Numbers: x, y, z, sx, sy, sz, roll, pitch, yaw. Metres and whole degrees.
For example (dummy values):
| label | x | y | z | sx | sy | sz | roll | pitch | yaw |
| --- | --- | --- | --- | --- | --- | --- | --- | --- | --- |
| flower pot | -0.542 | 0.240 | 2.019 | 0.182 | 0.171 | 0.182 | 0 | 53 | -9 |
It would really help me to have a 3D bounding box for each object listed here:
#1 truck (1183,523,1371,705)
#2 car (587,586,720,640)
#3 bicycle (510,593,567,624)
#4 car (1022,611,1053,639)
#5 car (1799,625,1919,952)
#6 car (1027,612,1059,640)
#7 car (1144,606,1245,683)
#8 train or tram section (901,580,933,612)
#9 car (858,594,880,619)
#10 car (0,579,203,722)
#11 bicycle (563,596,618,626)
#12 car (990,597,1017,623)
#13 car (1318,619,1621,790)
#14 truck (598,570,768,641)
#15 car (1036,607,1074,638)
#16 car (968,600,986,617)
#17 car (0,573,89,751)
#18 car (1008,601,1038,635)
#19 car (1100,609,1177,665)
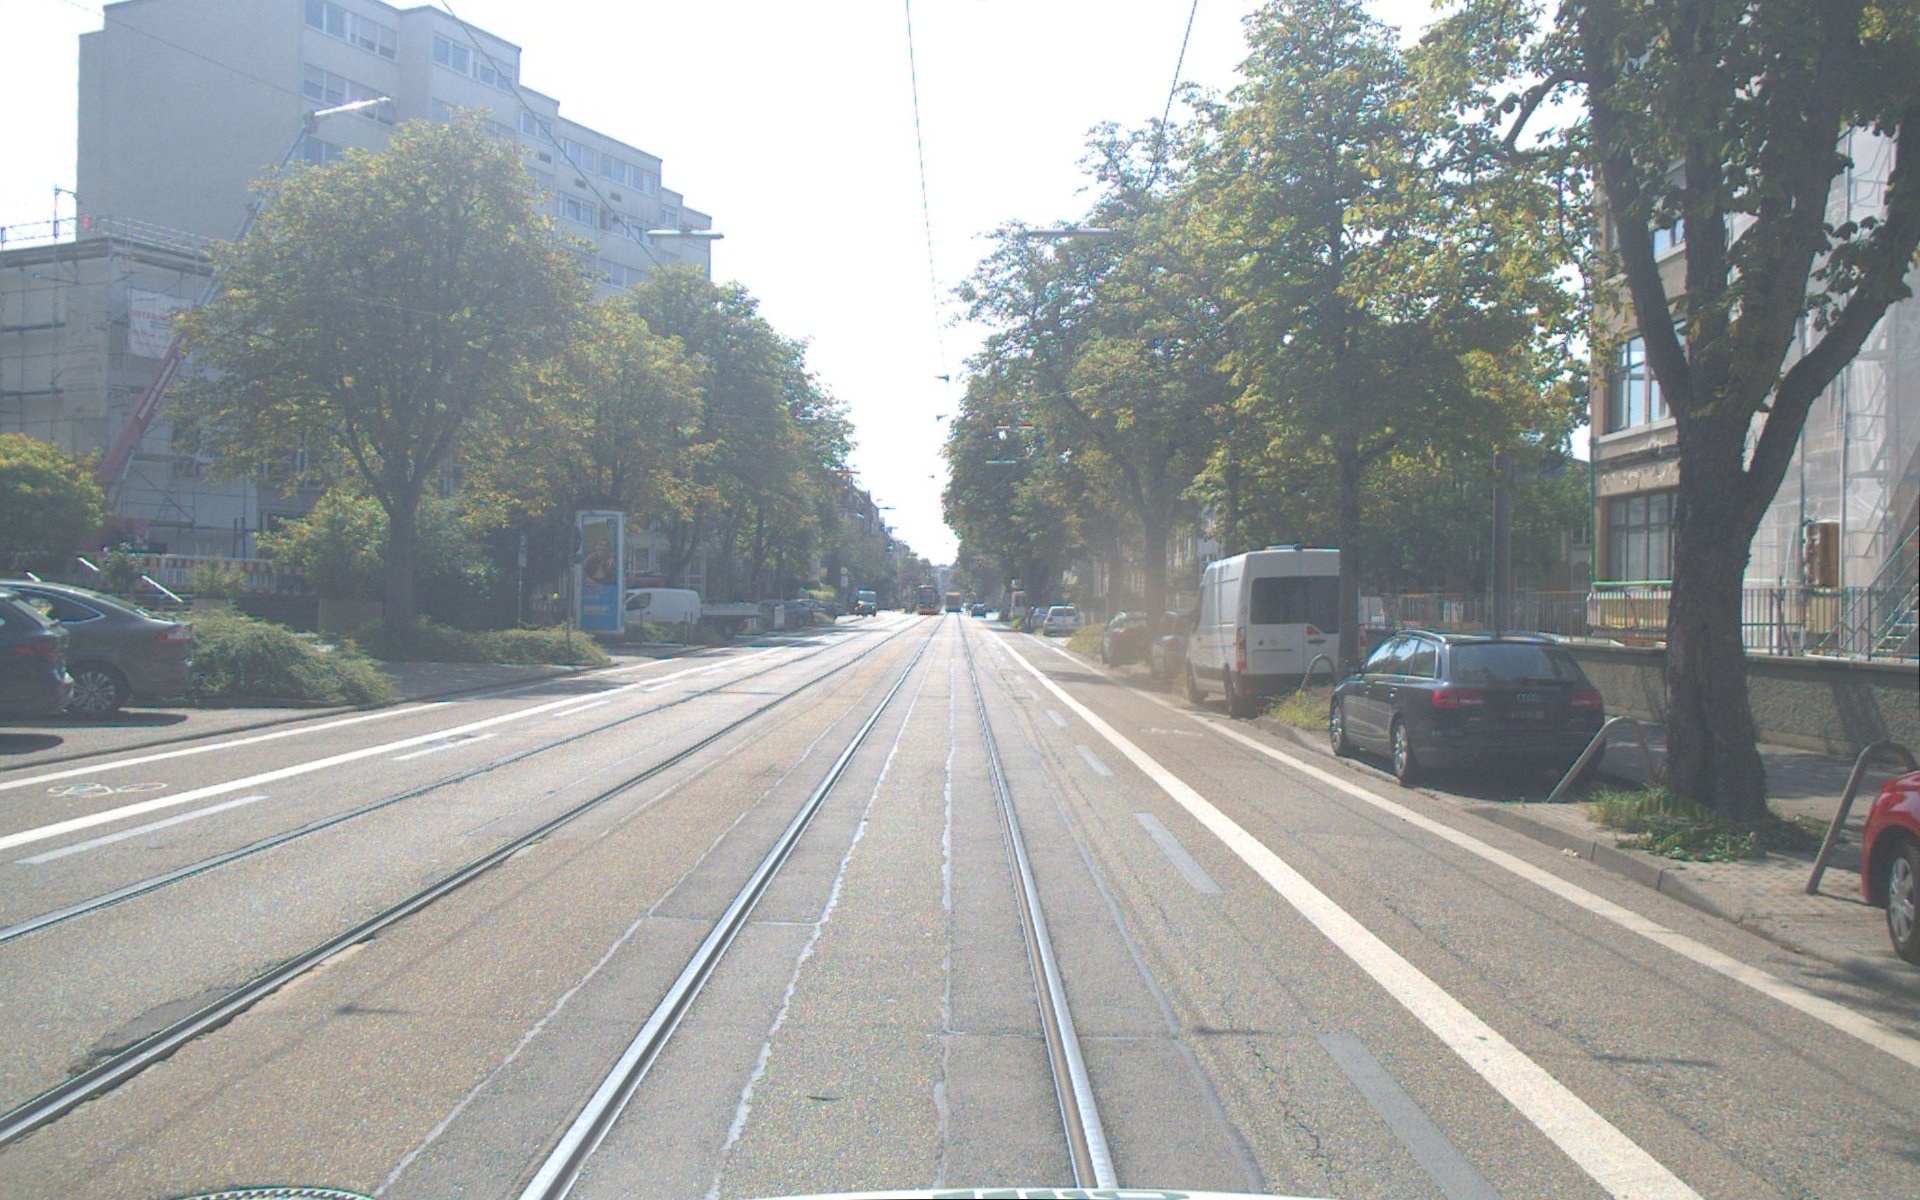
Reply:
| label | x | y | z | sx | sy | sz | roll | pitch | yaw |
| --- | --- | --- | --- | --- | --- | --- | --- | --- | --- |
| truck | 5.044 | 0.235 | 27.130 | 1.878 | 2.644 | 5.590 | 1 | -1 | -1 |
| car | -10.504 | 0.443 | 56.875 | 4.251 | 1.803 | 1.796 | 1 | 0 | -44 |
| bicycle | -17.248 | 0.348 | 67.657 | 2.290 | 1.189 | 0.602 | 2 | -1 | 20 |
| car | 4.652 | 1.479 | 99.485 | 1.757 | 1.604 | 4.001 | 1 | 0 | 2 |
| car | 5.342 | 0.893 | 6.799 | 1.651 | 1.526 | 4.131 | 1 | -1 | -1 |
| car | 4.699 | 1.478 | 93.573 | 1.607 | 1.538 | 3.641 | 1 | -1 | 0 |
| car | 5.165 | 0.960 | 36.914 | 1.640 | 1.607 | 4.171 | -1 | -1 | 0 |
| train or tram section | -5.226 | -0.457 | 202.882 | 3.425 | 3.769 | 12.413 | 1 | 0 | 1 |
| car | -9.375 | 0.678 | 171.018 | 2.197 | 2.484 | 3.997 | 1 | -1 | -4 |
| car | -10.747 | 0.531 | 18.335 | 4.230 | 1.523 | 1.765 | 1 | 0 | -27 |
| bicycle | -15.993 | 0.472 | 71.635 | 2.289 | 1.189 | 0.562 | 2 | -1 | 17 |
| car | 3.864 | 0.851 | 148.364 | 1.954 | 2.272 | 3.996 | 1 | 0 | -5 |
| car | 5.028 | 0.947 | 17.030 | 1.650 | 1.466 | 4.803 | 1 | -1 | 0 |
| truck | -10.145 | 0.226 | 60.851 | 5.911 | 2.477 | 2.120 | 1 | -1 | -40 |
| car | 4.582 | 1.086 | 79.803 | 1.754 | 1.471 | 3.734 | 0 | -1 | 2 |
| car | 1.945 | 0.989 | 188.165 | 1.953 | 1.832 | 4.000 | 1 | -1 | 0 |
| car | -10.214 | 0.526 | 15.091 | 3.940 | 1.597 | 1.765 | 1 | 0 | -27 |
| car | 4.608 | 1.308 | 121.305 | 1.953 | 2.407 | 4.000 | 1 | -1 | 0 |
| car | 4.957 | 0.995 | 46.375 | 1.640 | 1.483 | 4.663 | 0 | 0 | 0 |
